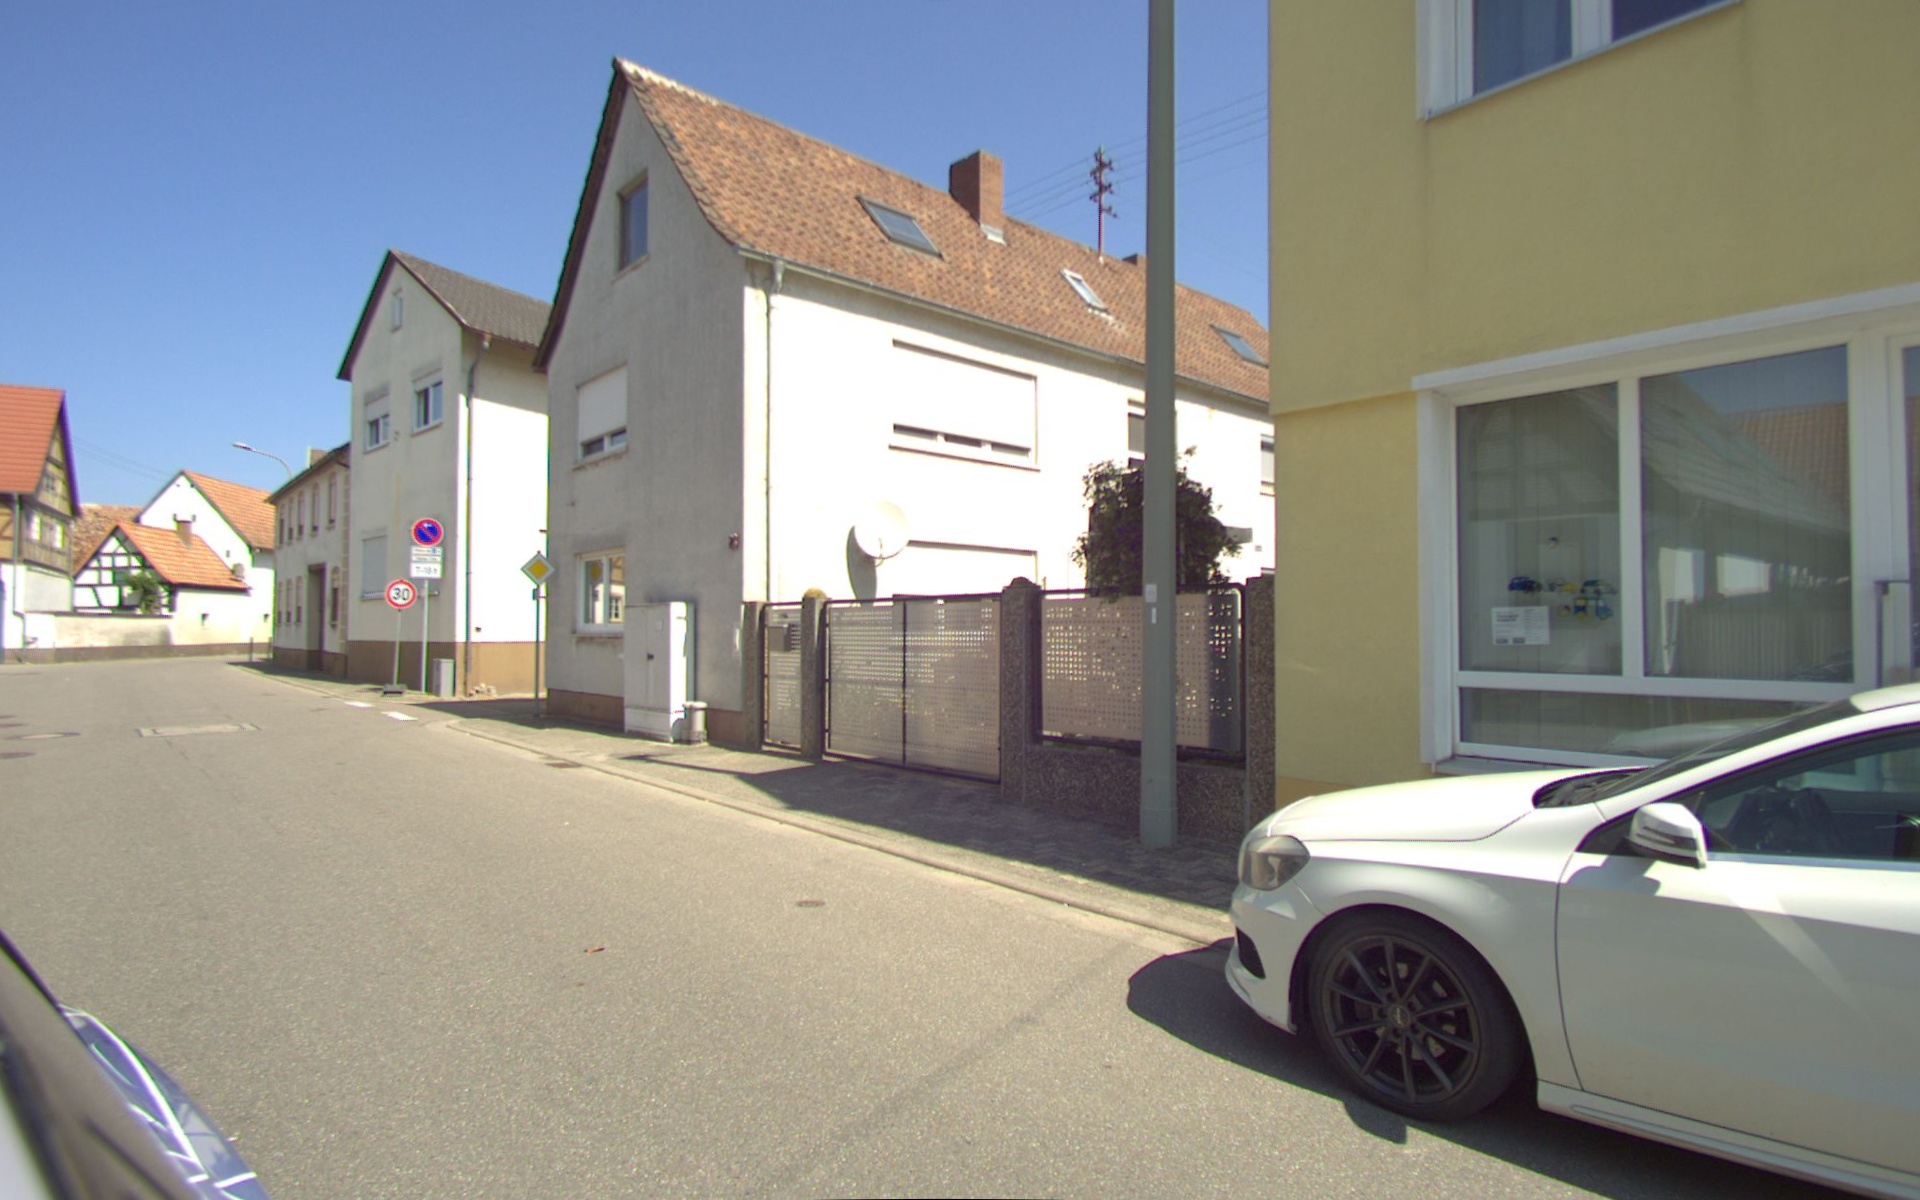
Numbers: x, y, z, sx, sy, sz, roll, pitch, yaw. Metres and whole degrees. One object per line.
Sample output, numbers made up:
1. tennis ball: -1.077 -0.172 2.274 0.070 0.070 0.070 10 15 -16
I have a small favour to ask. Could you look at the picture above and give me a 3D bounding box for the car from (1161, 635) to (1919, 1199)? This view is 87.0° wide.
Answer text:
1. car: 2.866 0.855 2.819 1.813 1.475 4.274 3 -3 -44
